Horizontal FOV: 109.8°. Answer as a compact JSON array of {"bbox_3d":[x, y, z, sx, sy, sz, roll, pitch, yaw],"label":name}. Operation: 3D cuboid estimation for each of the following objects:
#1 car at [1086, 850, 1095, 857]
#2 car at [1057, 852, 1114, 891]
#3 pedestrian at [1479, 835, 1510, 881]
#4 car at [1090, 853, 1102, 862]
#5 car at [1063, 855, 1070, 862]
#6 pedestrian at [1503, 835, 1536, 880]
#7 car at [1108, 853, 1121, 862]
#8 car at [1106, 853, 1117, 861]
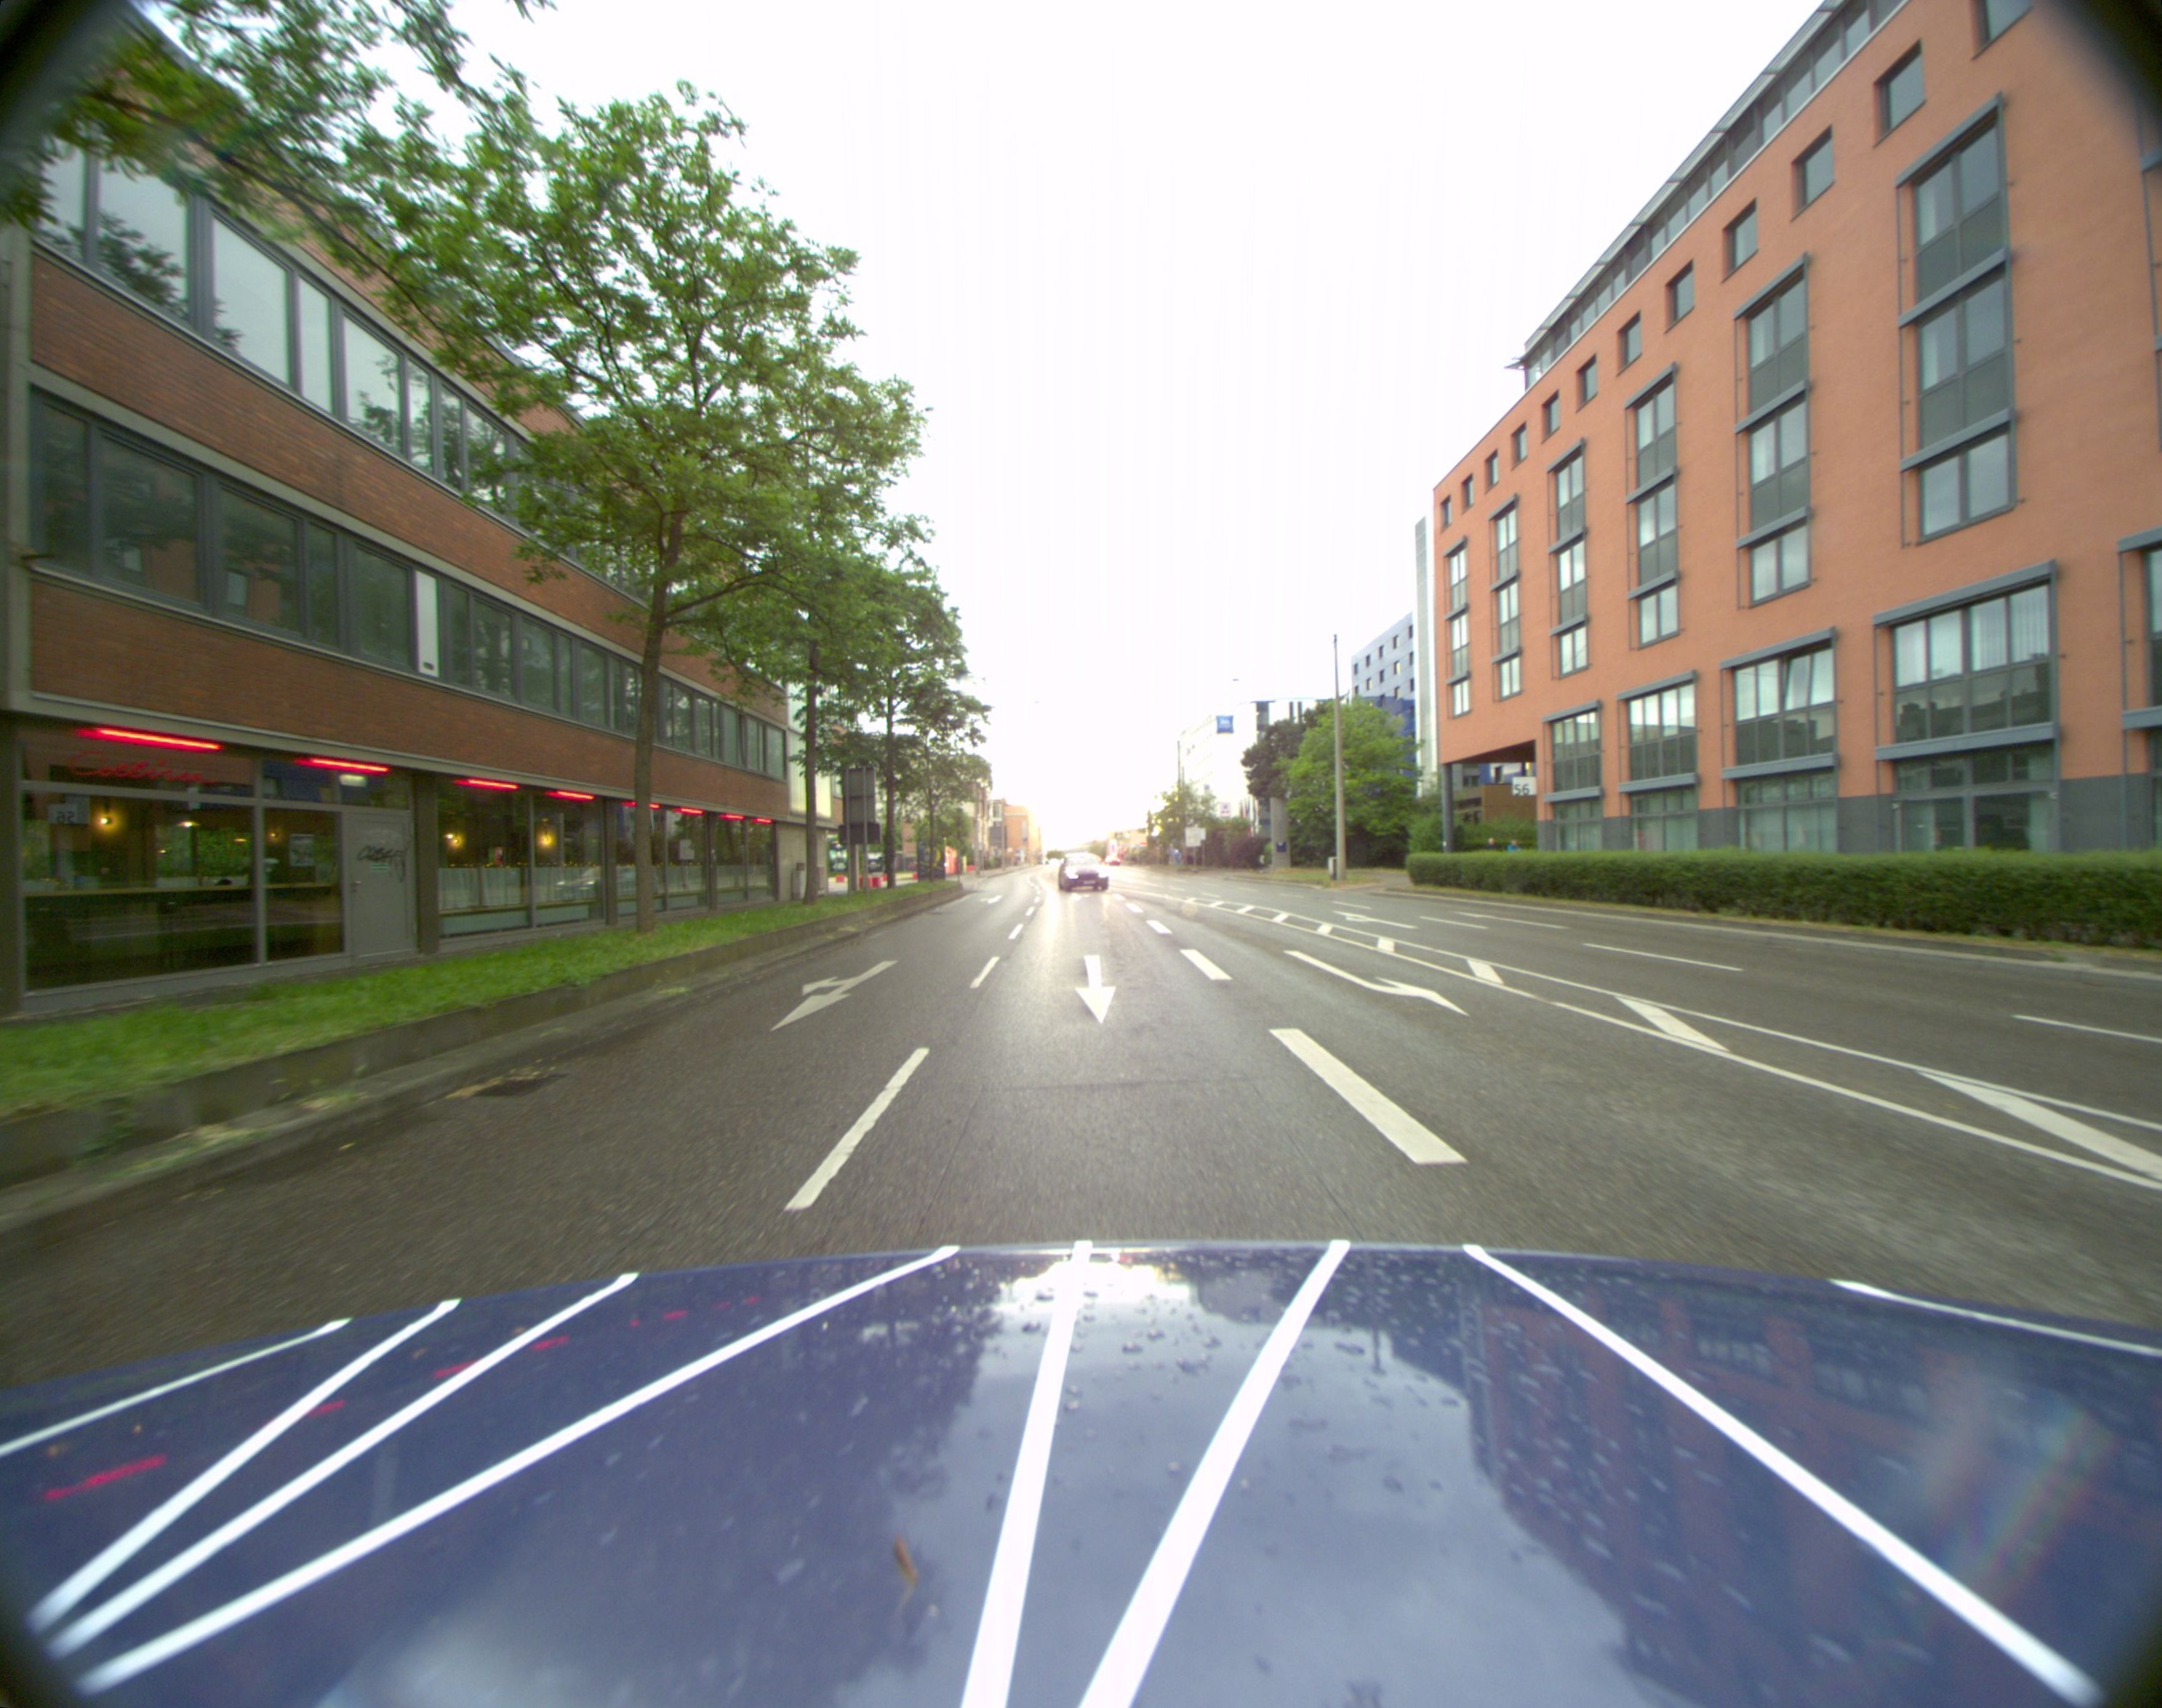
[{"bbox_3d":[2.304,-0.149,184.225,1.999,1.543,3.999,-1,0,0],"label":"car"},{"bbox_3d":[0.120,0.786,36.104,2.000,1.656,5.421,-1,0,-7],"label":"car"},{"bbox_3d":[17.099,0.166,31.445,0.747,1.830,0.885,-3,1,-1],"label":"pedestrian"},{"bbox_3d":[2.767,0.624,140.914,1.999,1.543,3.999,-1,0,0],"label":"car"},{"bbox_3d":[-3.580,1.104,188.399,1.799,1.501,4.000,0,-1,0],"label":"car"},{"bbox_3d":[18.026,0.140,31.244,0.747,1.830,0.885,-3,1,-1],"label":"pedestrian"},{"bbox_3d":[5.792,0.546,131.817,1.767,1.559,3.999,1,0,-3],"label":"car"},{"bbox_3d":[5.996,0.537,148.614,1.767,1.559,3.999,1,0,-2],"label":"car"}]
